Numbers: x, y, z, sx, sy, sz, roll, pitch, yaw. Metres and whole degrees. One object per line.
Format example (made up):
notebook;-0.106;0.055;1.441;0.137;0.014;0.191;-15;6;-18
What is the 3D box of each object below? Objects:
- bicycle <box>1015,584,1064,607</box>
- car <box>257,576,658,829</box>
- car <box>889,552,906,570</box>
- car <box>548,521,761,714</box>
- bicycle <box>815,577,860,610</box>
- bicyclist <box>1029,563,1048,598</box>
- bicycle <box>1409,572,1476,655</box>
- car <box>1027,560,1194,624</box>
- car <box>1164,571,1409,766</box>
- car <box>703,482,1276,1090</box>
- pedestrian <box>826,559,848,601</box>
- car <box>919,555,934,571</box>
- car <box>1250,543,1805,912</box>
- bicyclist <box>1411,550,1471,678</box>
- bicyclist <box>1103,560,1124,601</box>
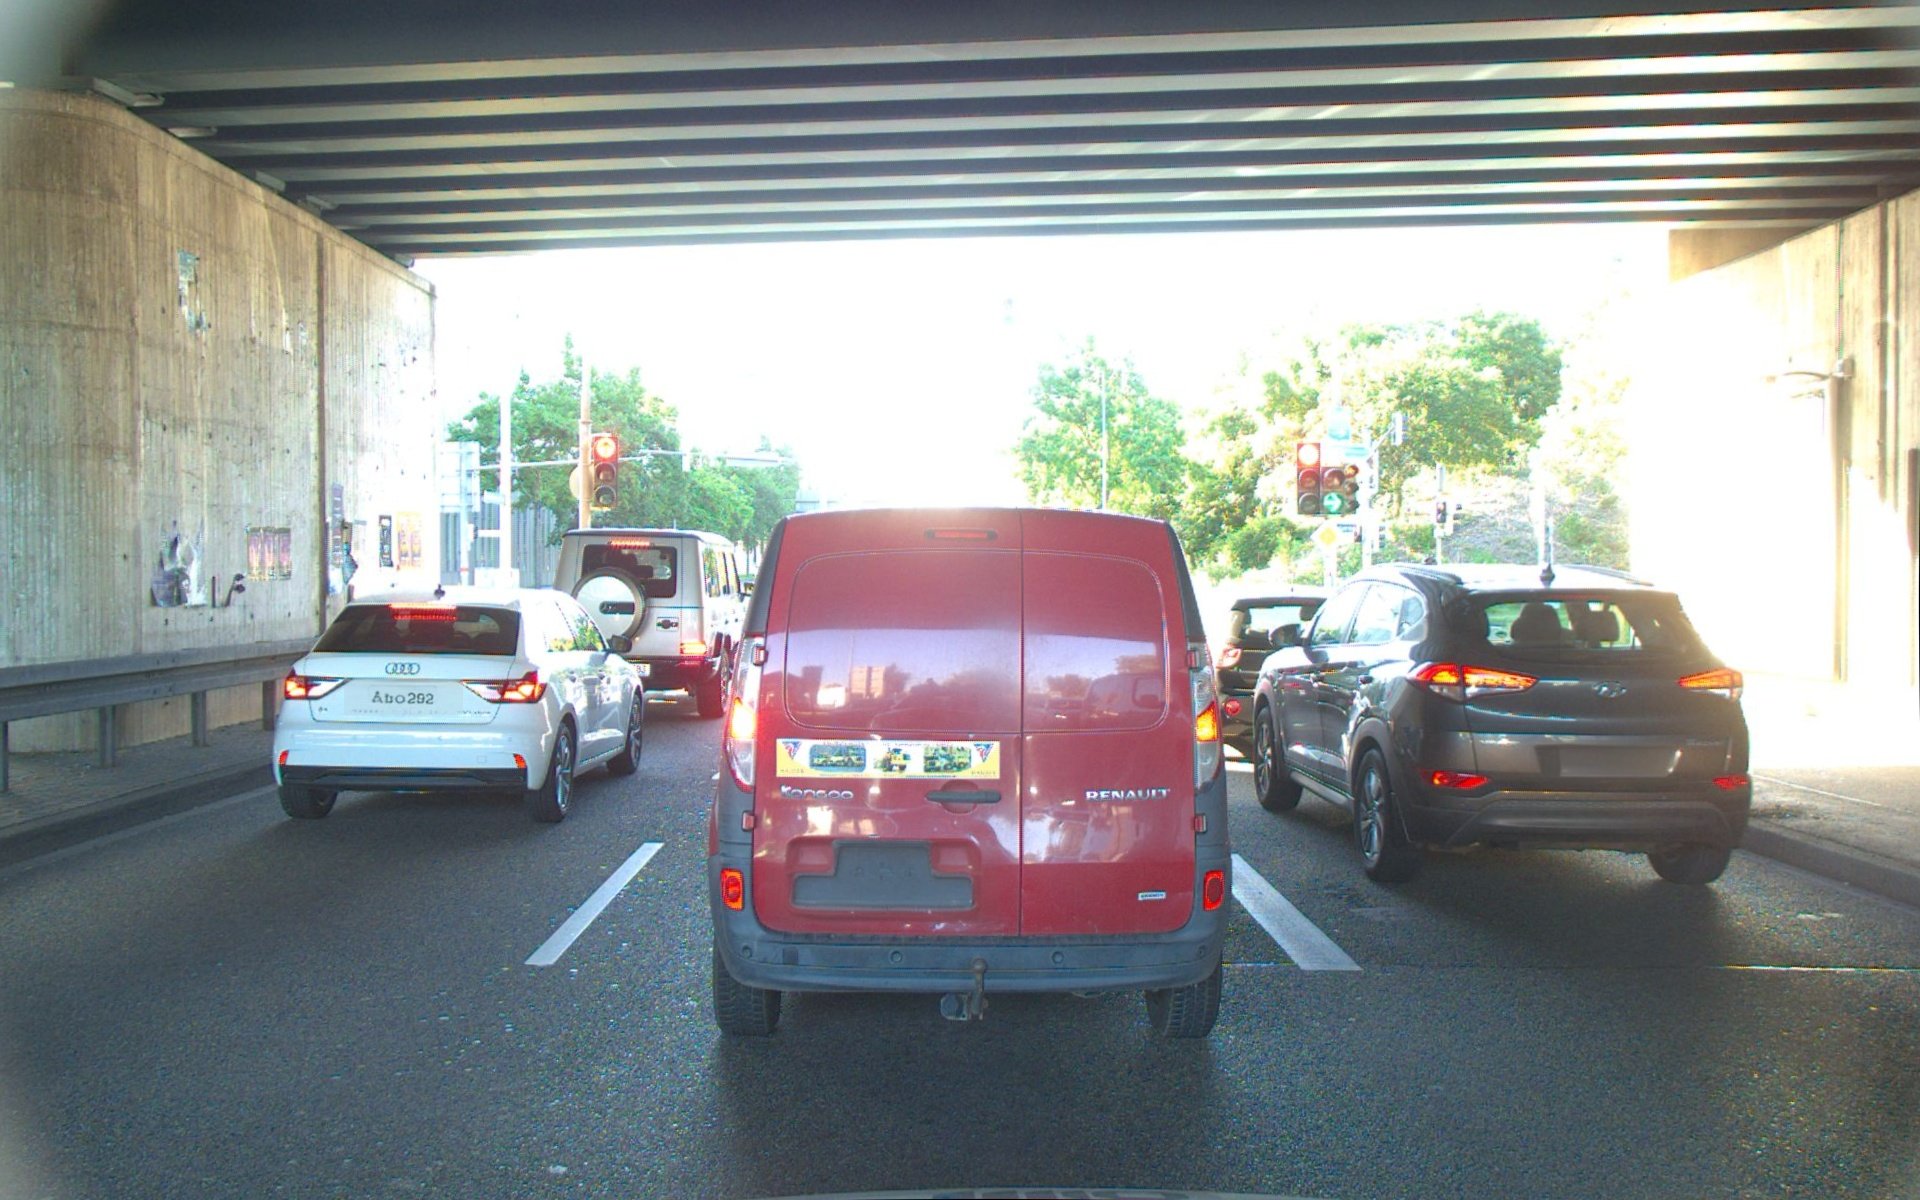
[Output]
bicycle;3.110;-0.176;65.011;1.875;0.882;0.605;0;0;-5
car;-3.238;0.582;11.435;1.658;1.435;3.812;1;0;-1
car;-7.987;-4.962;211.140;1.953;2.049;3.999;1;0;-1
car;-3.332;0.165;18.728;1.777;1.937;3.812;1;0;-2
bicycle;-4.736;-0.250;63.937;1.695;1.254;0.557;0;0;-4
bicyclist;3.075;-0.765;65.008;0.640;1.352;0.602;1;0;-4
bicycle;6.358;0.179;21.829;0.662;1.042;1.530;1;0;10
car;4.096;-0.205;45.472;4.263;1.635;1.997;1;0;-6
car;2.947;0.535;15.677;1.618;1.579;3.865;1;1;1
car;0.063;0.548;6.943;1.684;1.795;3.999;1;0;-1
pedestrian;-4.750;-0.774;63.933;0.820;1.581;0.557;0;0;-3
car;-4.452;-4.914;220.647;1.953;2.049;3.999;1;0;-1
car;3.010;0.579;9.725;1.742;1.684;3.989;1;0;-2
bicyclist;6.364;0.183;21.890;0.663;1.657;0.644;1;0;10
bicyclist;5.959;-0.750;64.165;0.739;1.569;0.696;0;0;0
